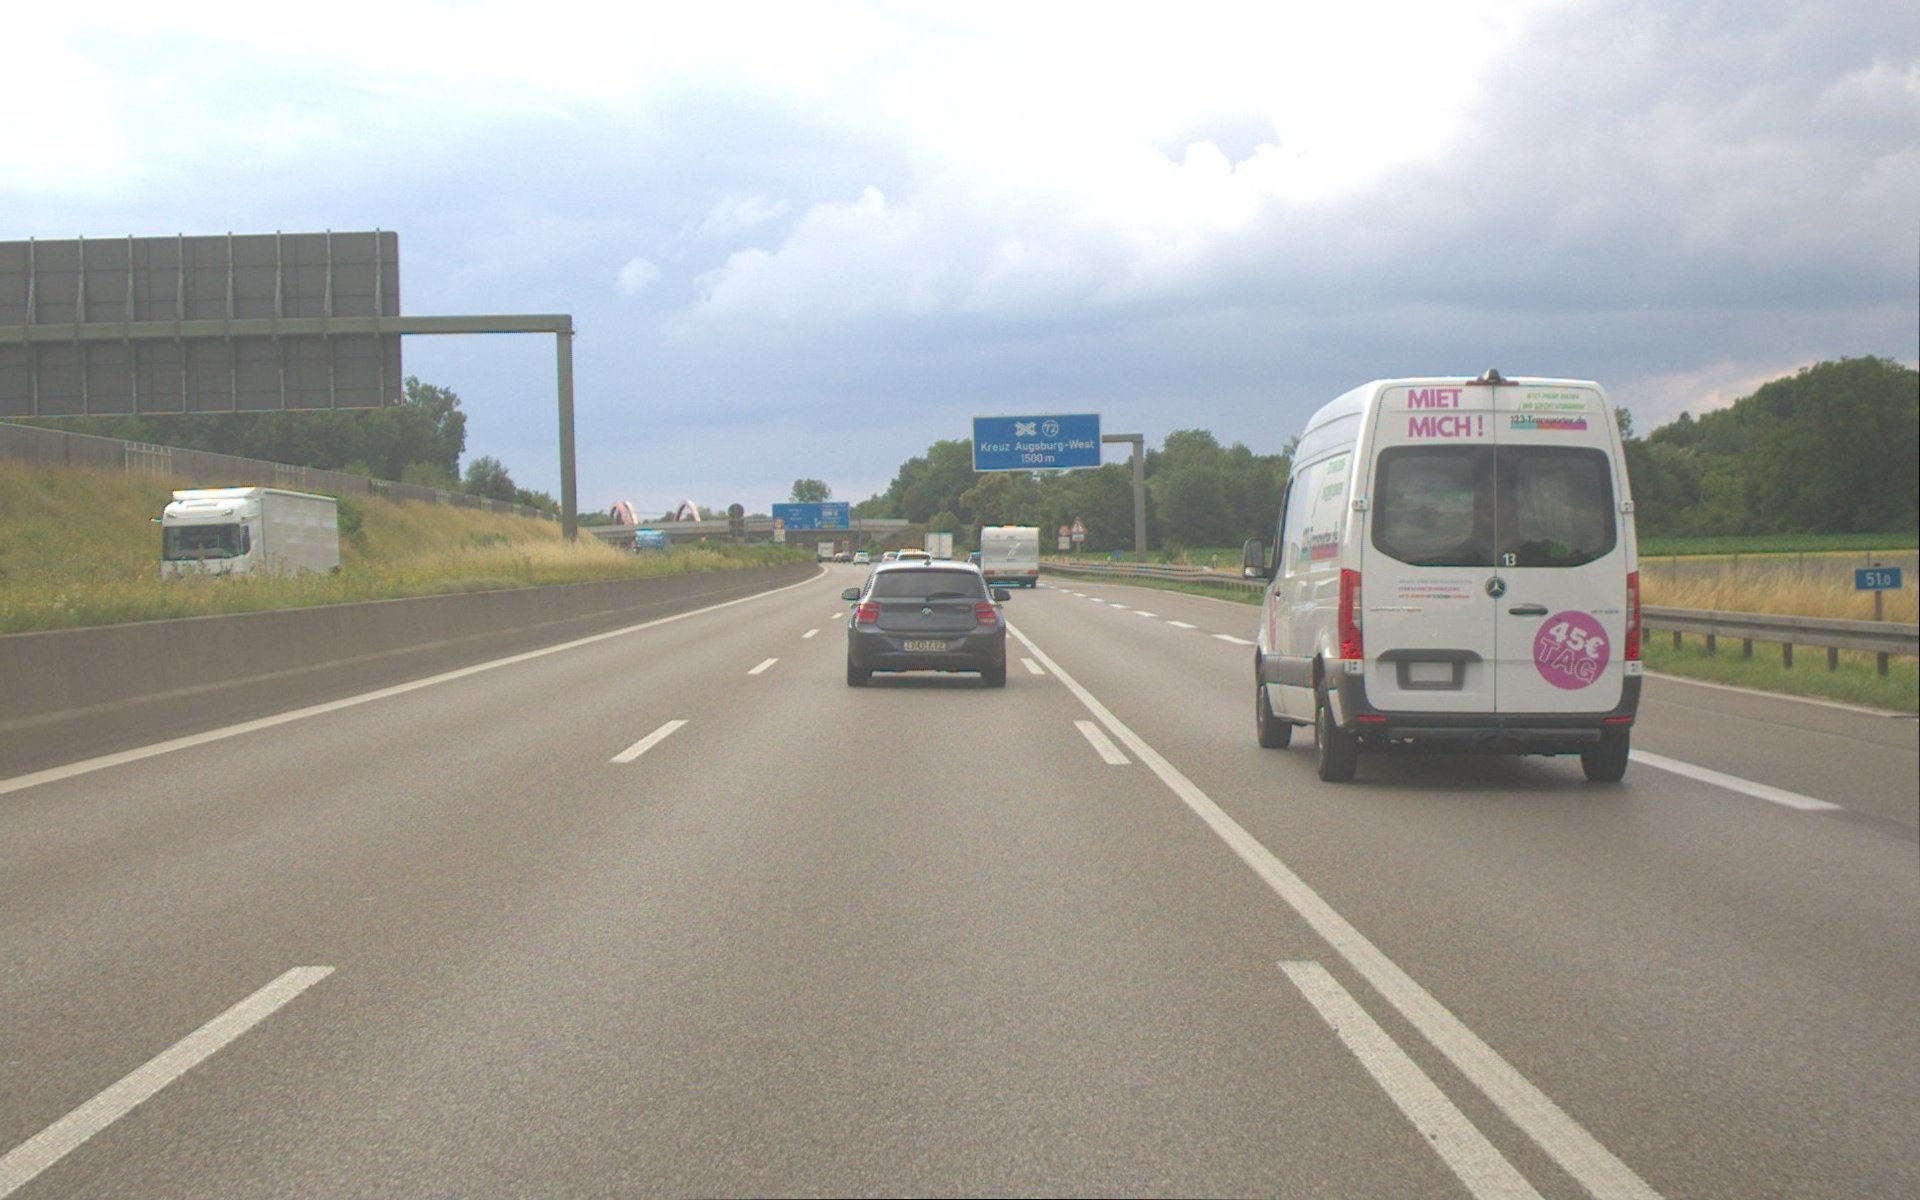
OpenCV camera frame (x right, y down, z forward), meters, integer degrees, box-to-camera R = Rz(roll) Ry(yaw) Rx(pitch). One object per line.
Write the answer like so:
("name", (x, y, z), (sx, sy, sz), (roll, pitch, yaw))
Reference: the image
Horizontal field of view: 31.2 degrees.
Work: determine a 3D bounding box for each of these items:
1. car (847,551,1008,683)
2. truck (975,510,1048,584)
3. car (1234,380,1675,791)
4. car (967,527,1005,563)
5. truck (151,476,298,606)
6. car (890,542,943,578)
("car", (-0.367, 0.155, 39.244), (1.743, 1.384, 4.000), (0, 1, 0))
("truck", (2.112, -2.267, 145.572), (2.710, 2.954, 12.448), (1, 1, -1))
("car", (3.342, -0.150, 24.618), (2.221, 2.559, 6.256), (0, 1, 0))
("car", (1.465, -3.141, 195.342), (1.993, 2.007, 4.000), (-1, 1, -1))
("truck", (-21.842, -1.756, 102.445), (2.726, 3.665, 7.490), (-2, 1, 0))
("car", (-1.670, -1.527, 131.356), (1.993, 1.293, 4.000), (-1, 1, -1))
